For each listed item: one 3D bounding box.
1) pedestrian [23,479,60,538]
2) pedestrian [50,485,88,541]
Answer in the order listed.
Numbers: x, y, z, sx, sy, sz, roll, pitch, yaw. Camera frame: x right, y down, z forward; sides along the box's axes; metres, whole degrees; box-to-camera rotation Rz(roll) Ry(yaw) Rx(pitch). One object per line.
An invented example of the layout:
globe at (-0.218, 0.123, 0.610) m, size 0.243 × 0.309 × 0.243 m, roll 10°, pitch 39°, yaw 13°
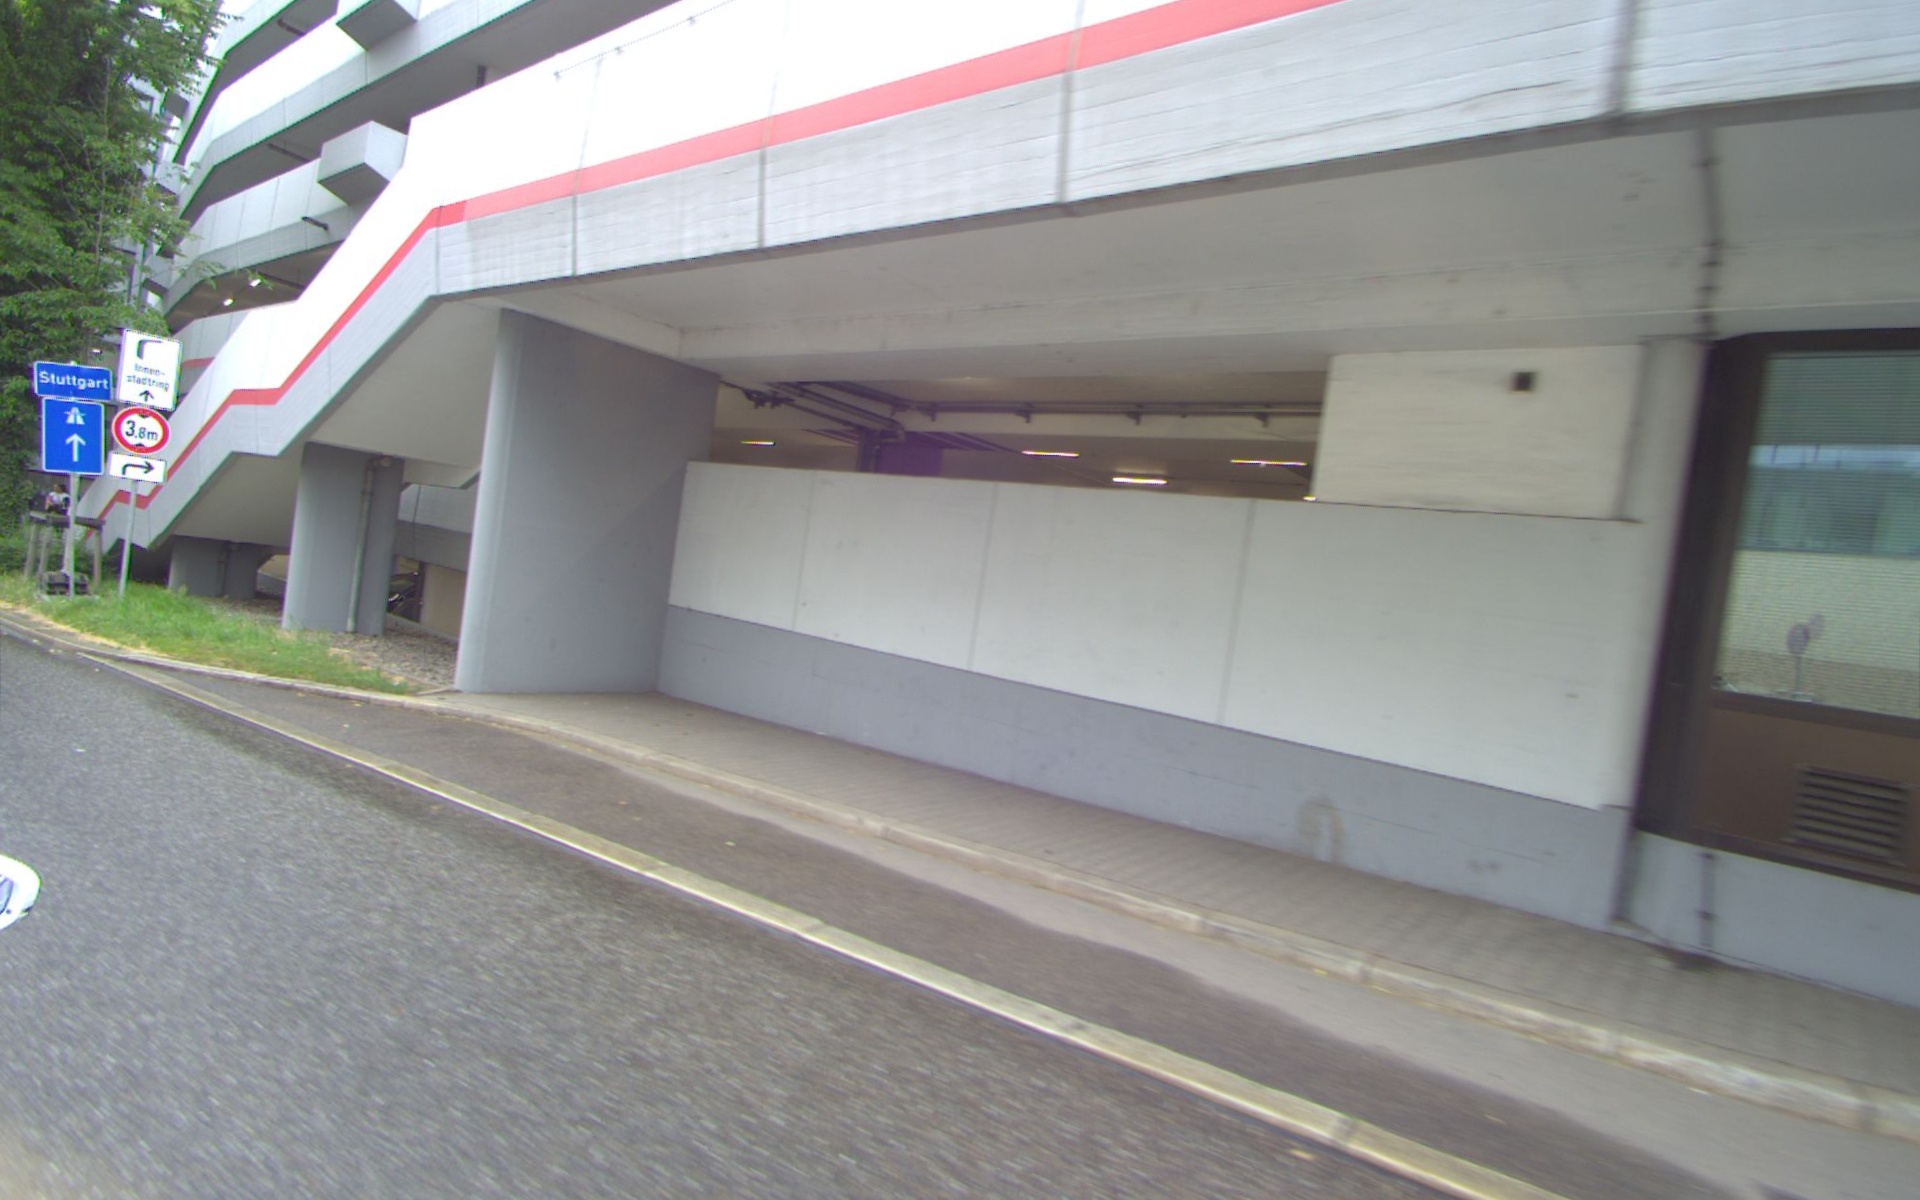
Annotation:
pedestrian at (-25.972, -2.588, 28.446) m, size 0.481 × 1.550 × 0.551 m, roll 6°, pitch -1°, yaw 39°
pedestrian at (-25.576, -2.492, 28.881) m, size 0.496 × 1.519 × 0.582 m, roll 6°, pitch -1°, yaw 37°
